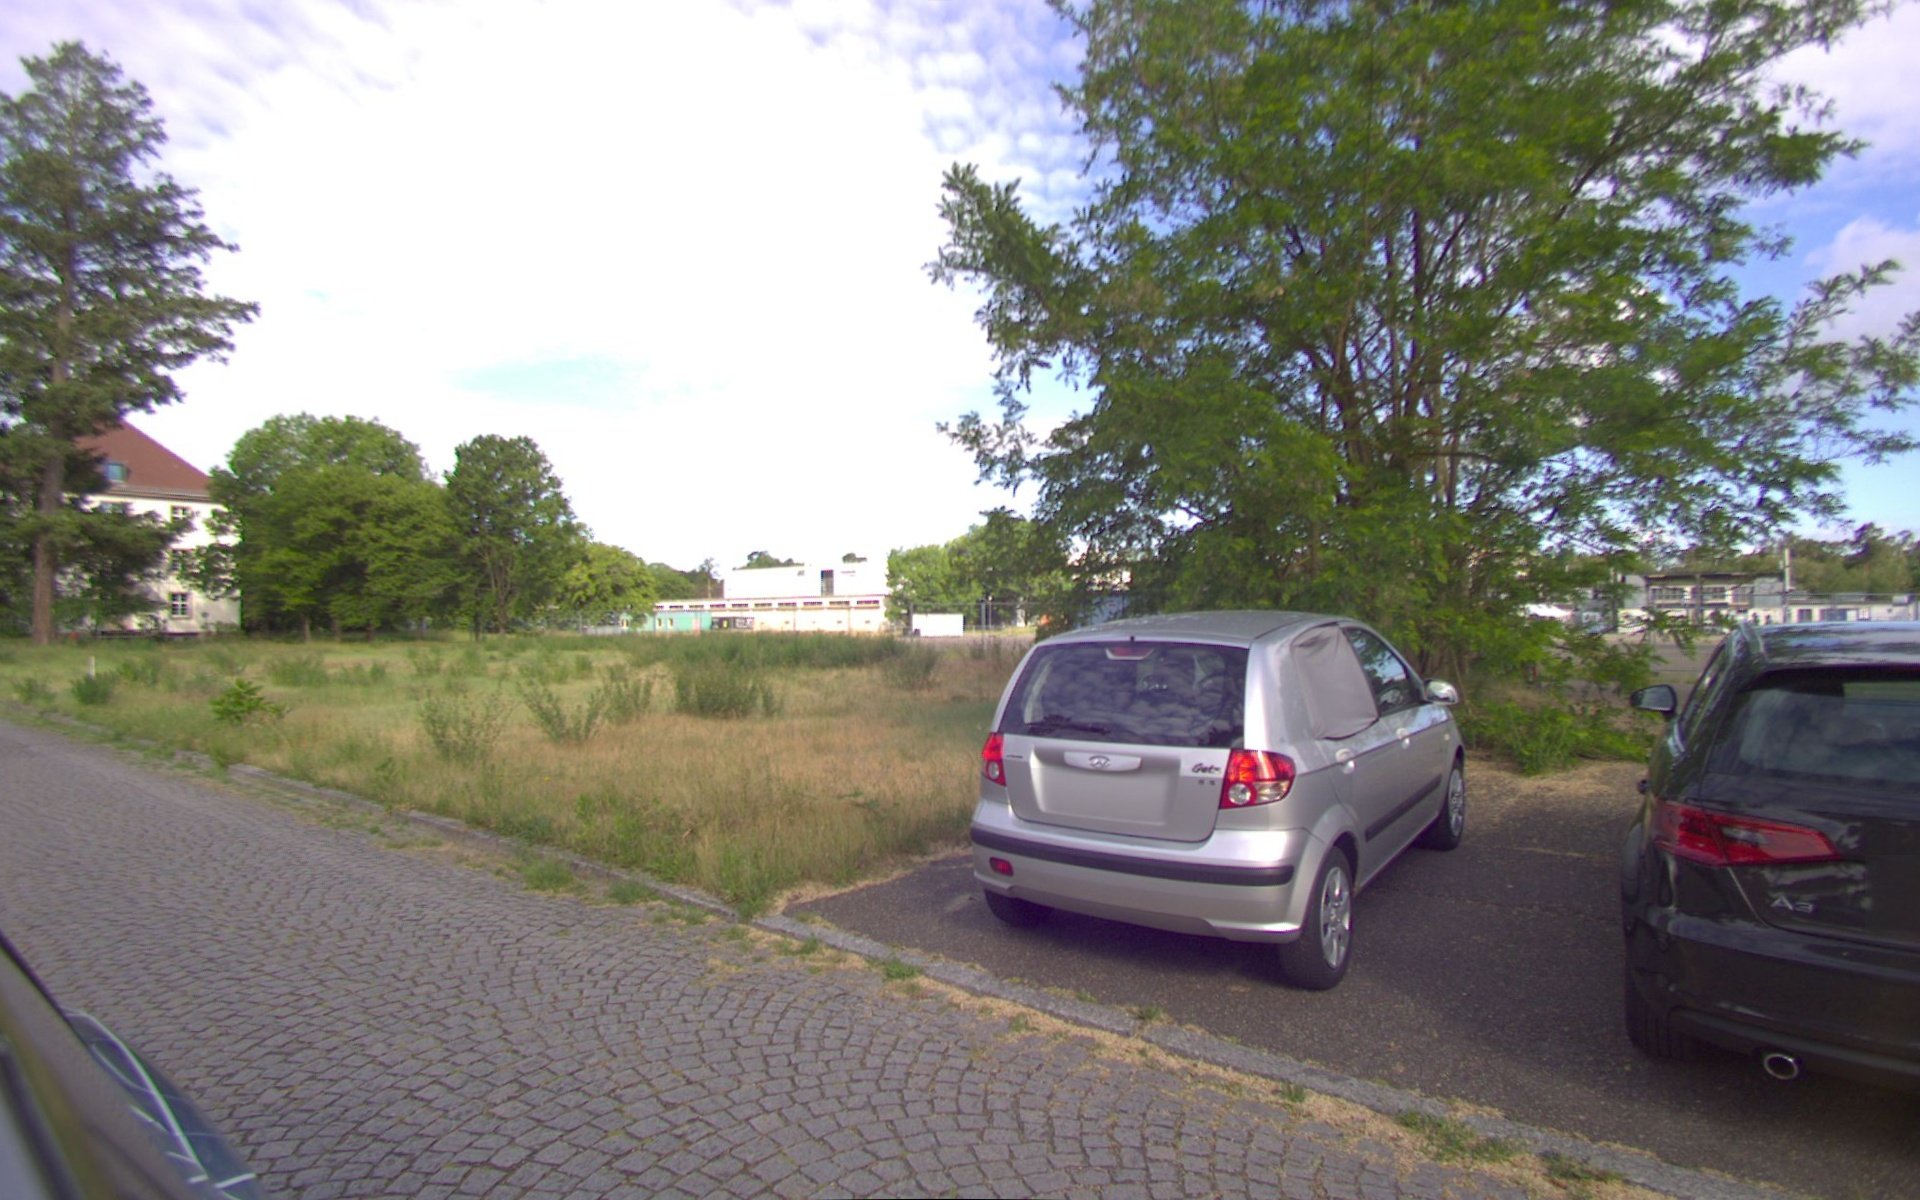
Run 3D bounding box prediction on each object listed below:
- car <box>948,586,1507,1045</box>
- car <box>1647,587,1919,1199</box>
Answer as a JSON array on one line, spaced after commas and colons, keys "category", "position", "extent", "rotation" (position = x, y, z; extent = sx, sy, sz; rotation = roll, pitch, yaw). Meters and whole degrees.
[{"category": "car", "position": [1.676, 0.729, 5.361], "extent": [1.644, 1.486, 3.544], "rotation": [-1, 1, 37]}, {"category": "car", "position": [3.739, 0.703, 3.743], "extent": [1.693, 1.419, 3.799], "rotation": [-2, 1, 38]}]
